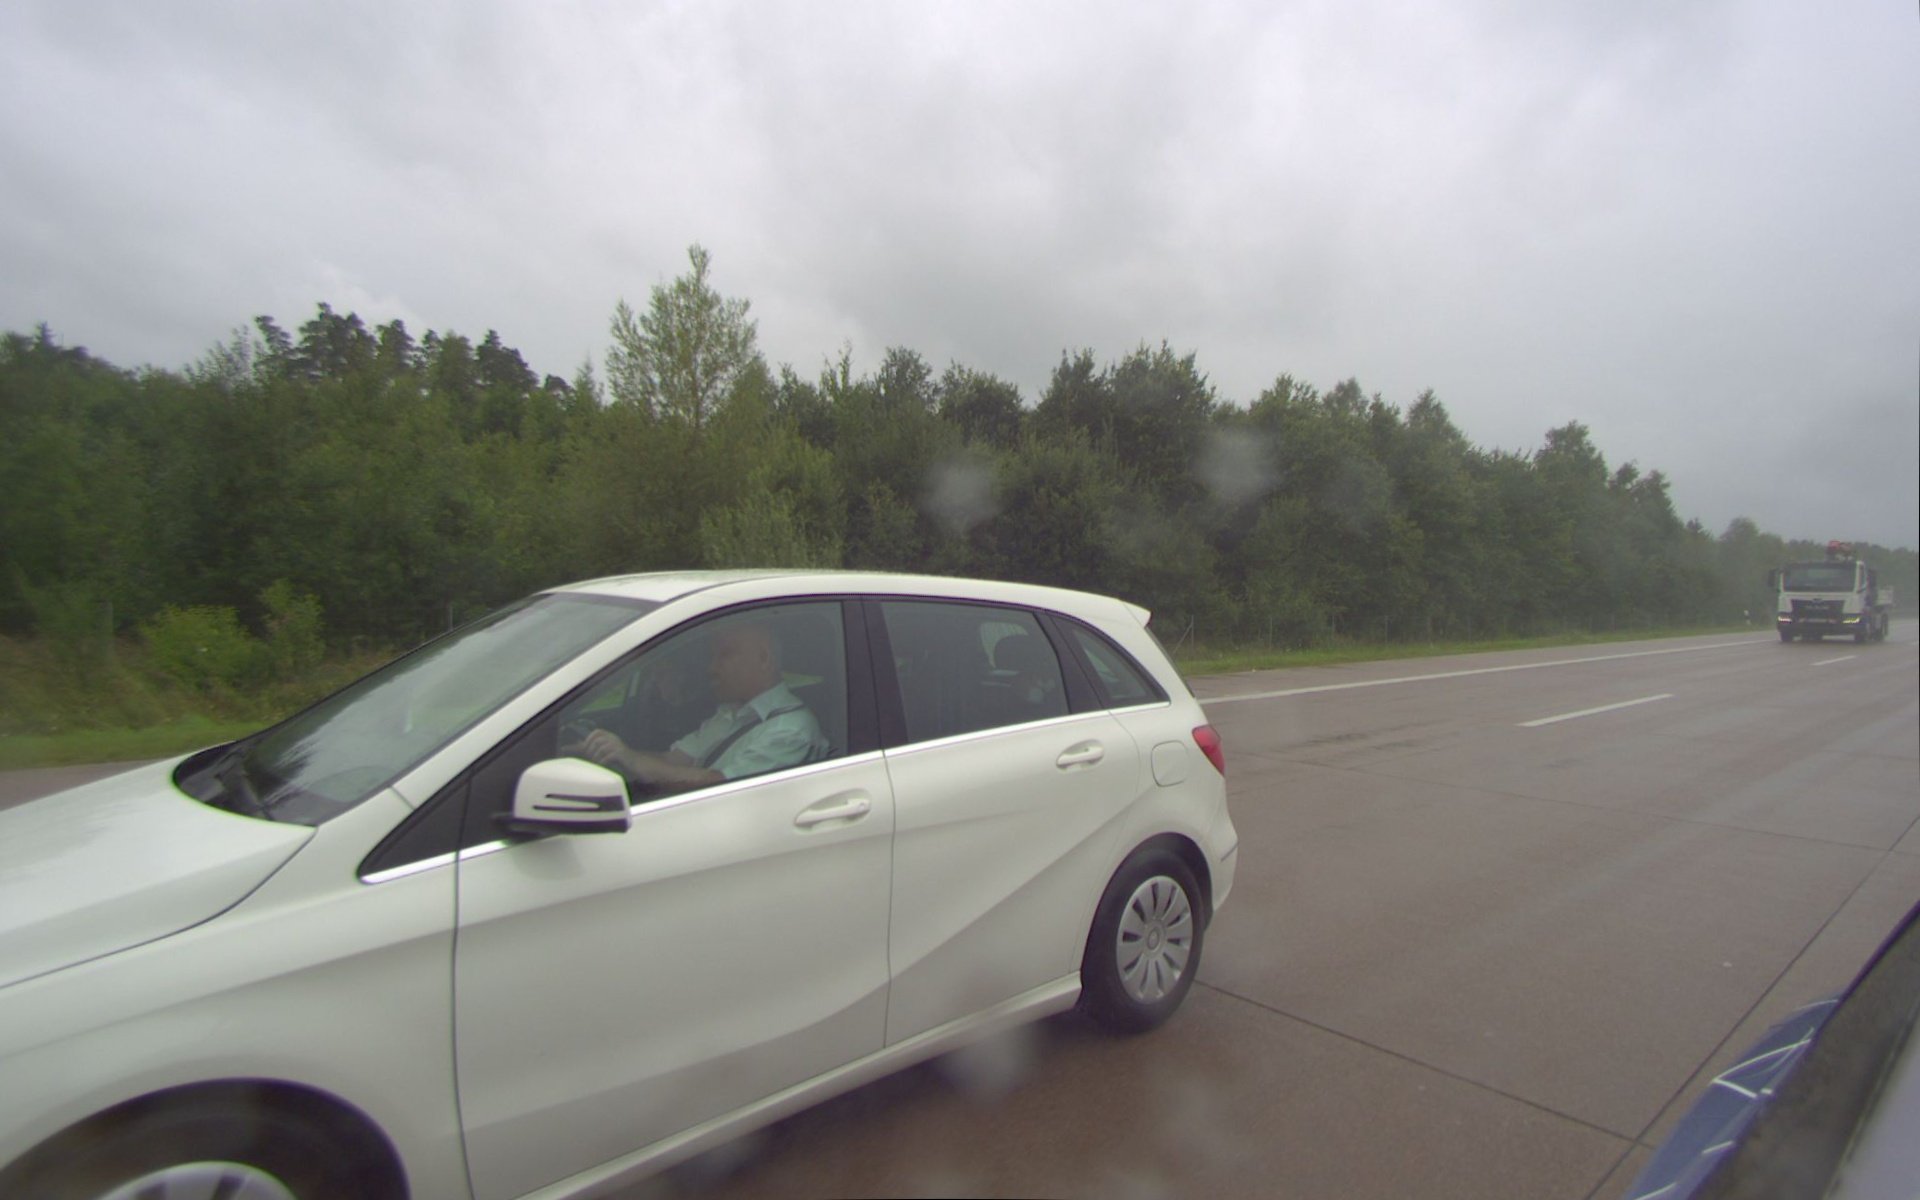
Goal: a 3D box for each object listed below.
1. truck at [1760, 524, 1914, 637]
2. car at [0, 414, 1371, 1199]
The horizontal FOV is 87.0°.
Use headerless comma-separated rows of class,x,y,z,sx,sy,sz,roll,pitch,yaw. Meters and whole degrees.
truck,32.644,-0.666,37.563,7.815,3.777,3.240,0,0,-41
car,-0.569,0.597,3.435,4.662,1.750,1.810,0,0,-42
